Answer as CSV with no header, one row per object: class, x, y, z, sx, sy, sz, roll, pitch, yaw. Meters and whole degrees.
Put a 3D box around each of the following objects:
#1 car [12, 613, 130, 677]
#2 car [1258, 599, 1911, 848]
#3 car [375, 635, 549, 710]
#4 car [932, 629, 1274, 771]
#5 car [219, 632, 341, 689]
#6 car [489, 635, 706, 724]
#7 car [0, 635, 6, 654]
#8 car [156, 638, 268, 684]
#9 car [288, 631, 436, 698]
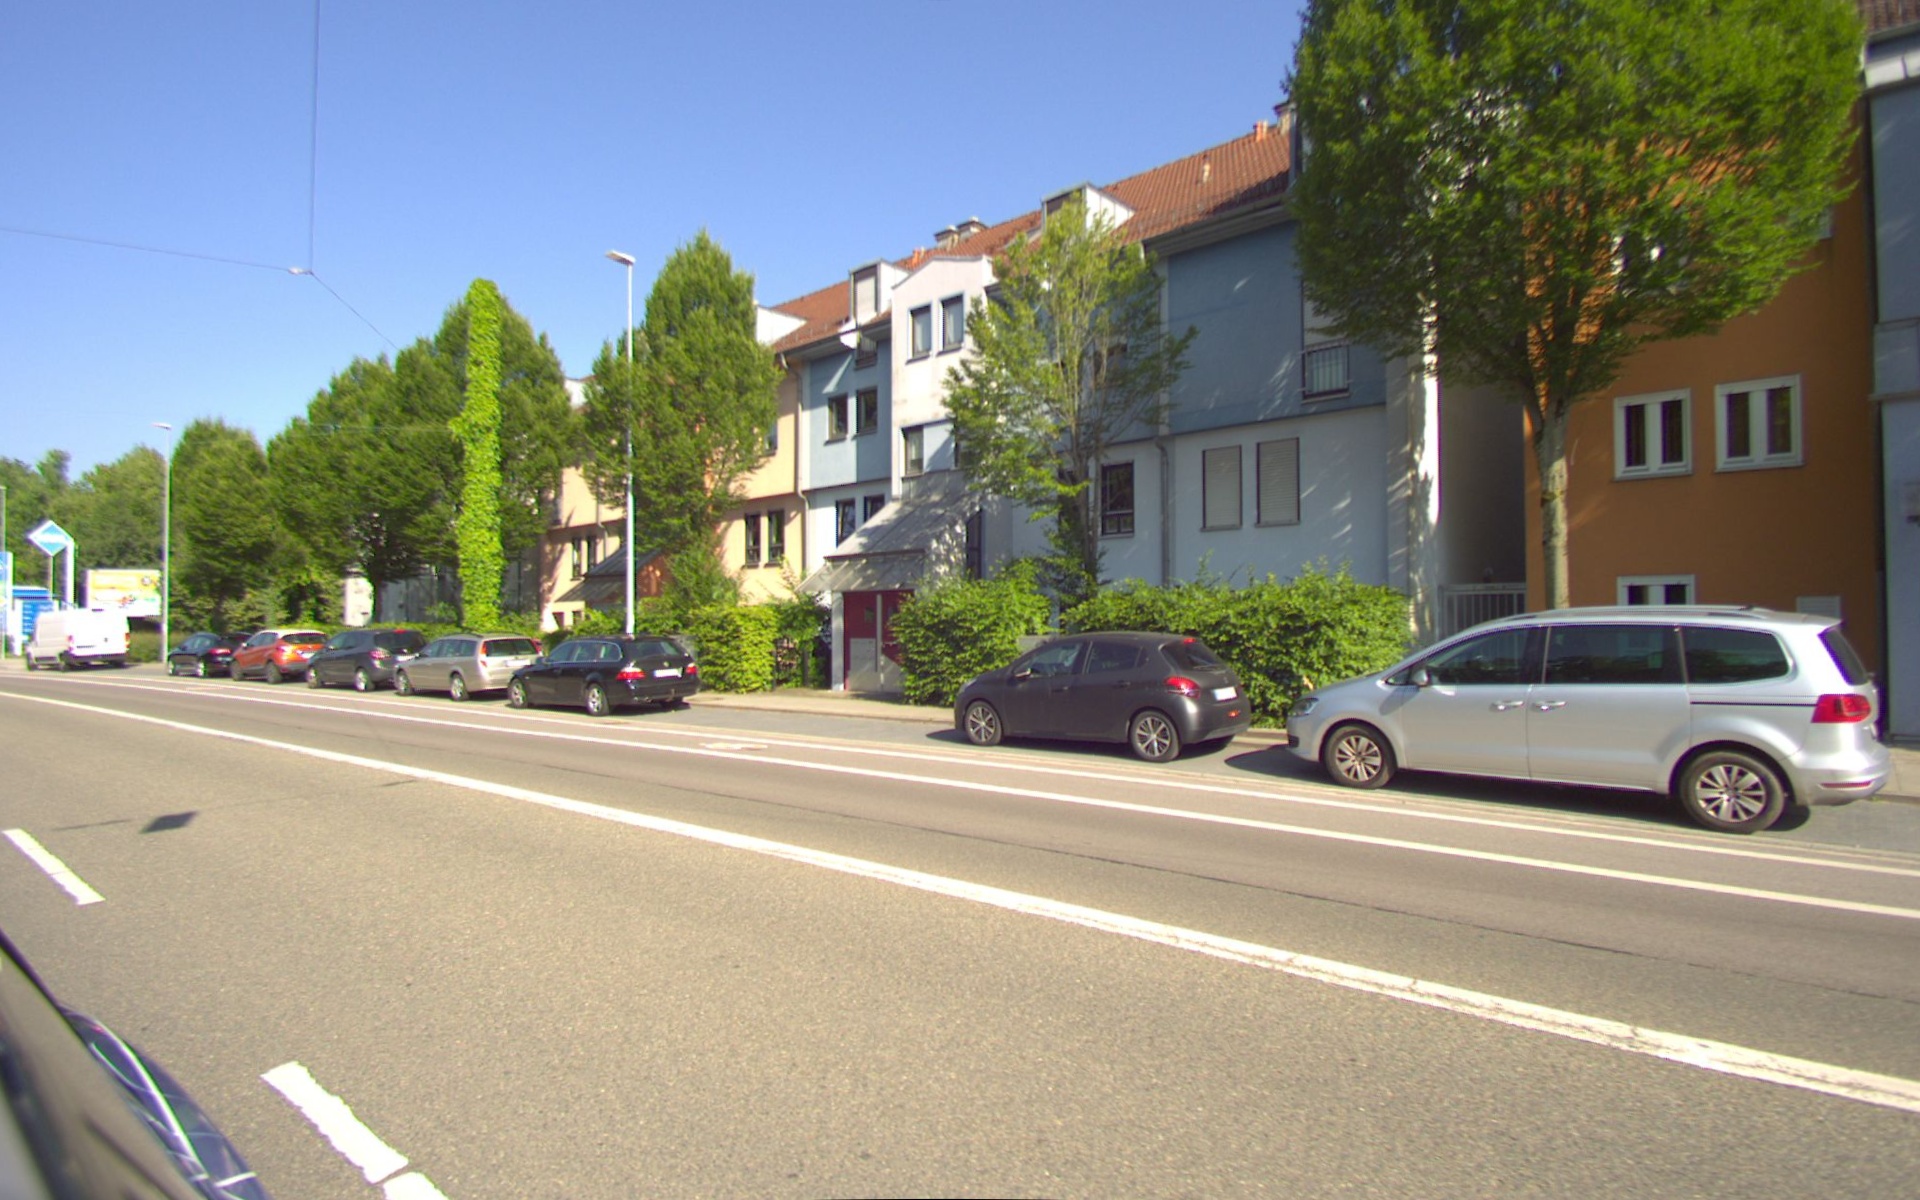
car,-37.325,1.883,42.429,6.165,2.476,2.135,-2,0,33
car,5.393,0.919,9.321,4.823,1.714,1.650,-2,-1,43
car,-11.787,1.618,23.813,4.837,1.482,1.696,-1,0,37
car,1.686,1.143,12.820,4.055,1.477,1.599,-2,-1,40
car,-20.668,1.775,30.703,4.153,1.586,1.747,-1,-2,36
car,-7.253,1.484,19.998,4.903,1.483,1.693,-2,0,39
car,-100.699,4.536,102.942,1.854,1.955,5.023,-2,-3,37
car,-25.076,2.014,33.877,4.702,1.435,1.637,-2,-3,36
car,-16.015,1.671,27.048,4.287,1.585,1.748,-1,0,34
